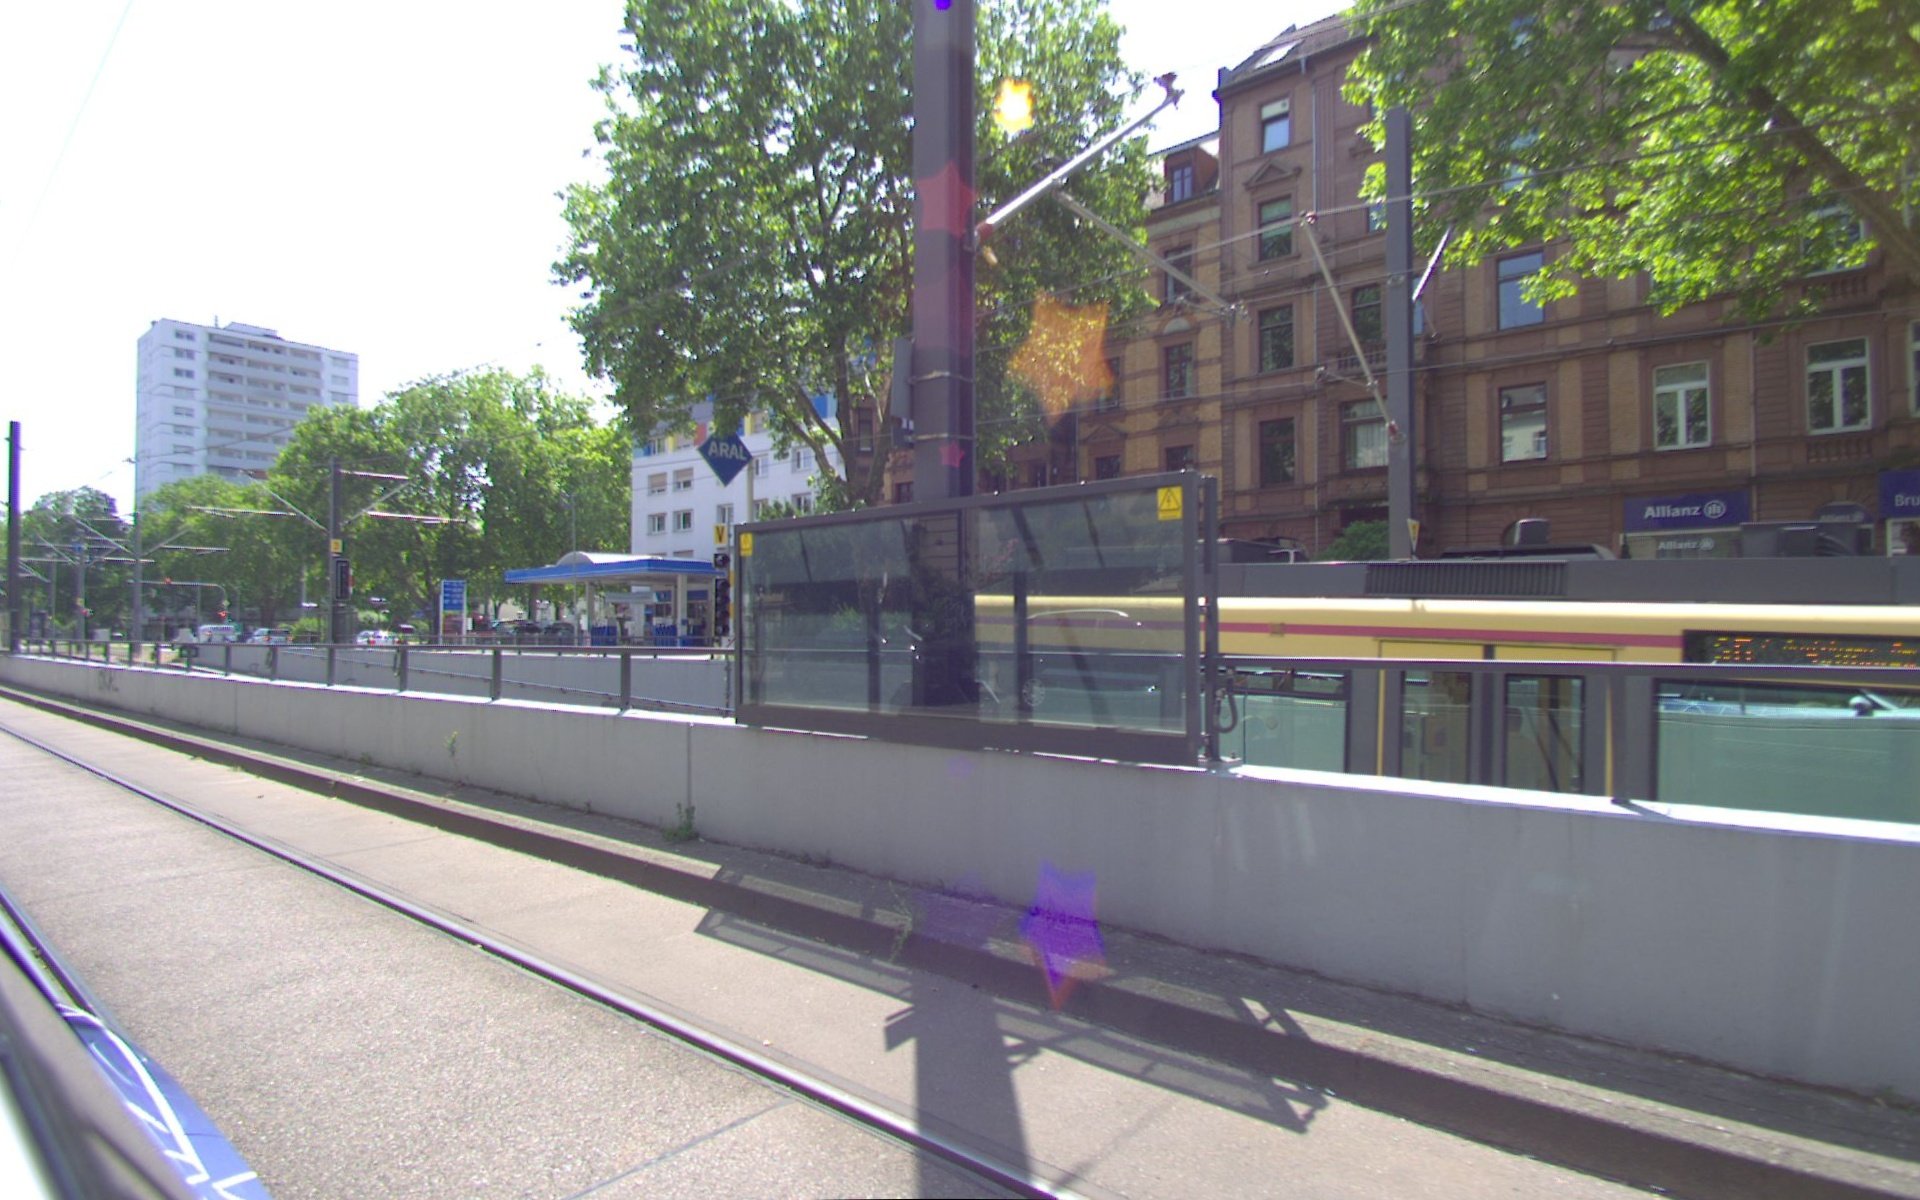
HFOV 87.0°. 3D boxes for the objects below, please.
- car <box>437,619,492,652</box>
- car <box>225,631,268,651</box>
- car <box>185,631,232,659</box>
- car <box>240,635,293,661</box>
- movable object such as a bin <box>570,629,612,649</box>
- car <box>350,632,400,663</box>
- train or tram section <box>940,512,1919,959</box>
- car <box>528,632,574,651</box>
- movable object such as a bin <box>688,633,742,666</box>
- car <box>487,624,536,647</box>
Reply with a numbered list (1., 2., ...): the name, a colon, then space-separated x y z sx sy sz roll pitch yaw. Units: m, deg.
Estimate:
1. car: -36.957 2.657 75.480 4.977 2.411 1.828 -2 -2 40
2. car: -50.666 2.919 71.846 3.779 1.431 1.580 -2 -4 40
3. car: -56.706 3.371 76.354 4.800 2.006 1.759 -2 -3 40
4. car: -46.026 3.166 67.114 4.600 1.638 1.827 -2 -3 42
5. movable object such as a bin: -30.244 3.182 82.973 1.985 1.623 2.689 -2 -2 40
6. car: -31.319 2.495 54.141 1.525 1.573 3.883 0 -2 -42
7. train or tram section: 3.915 0.852 8.770 8.509 2.528 2.701 -2 -2 40
8. car: -32.941 3.350 81.531 3.997 1.538 1.844 -2 -2 41
9. movable object such as a bin: -10.491 2.106 43.364 1.468 1.395 1.765 -2 -2 39
10. car: -34.795 2.781 78.535 3.997 1.733 1.973 -2 -2 41
